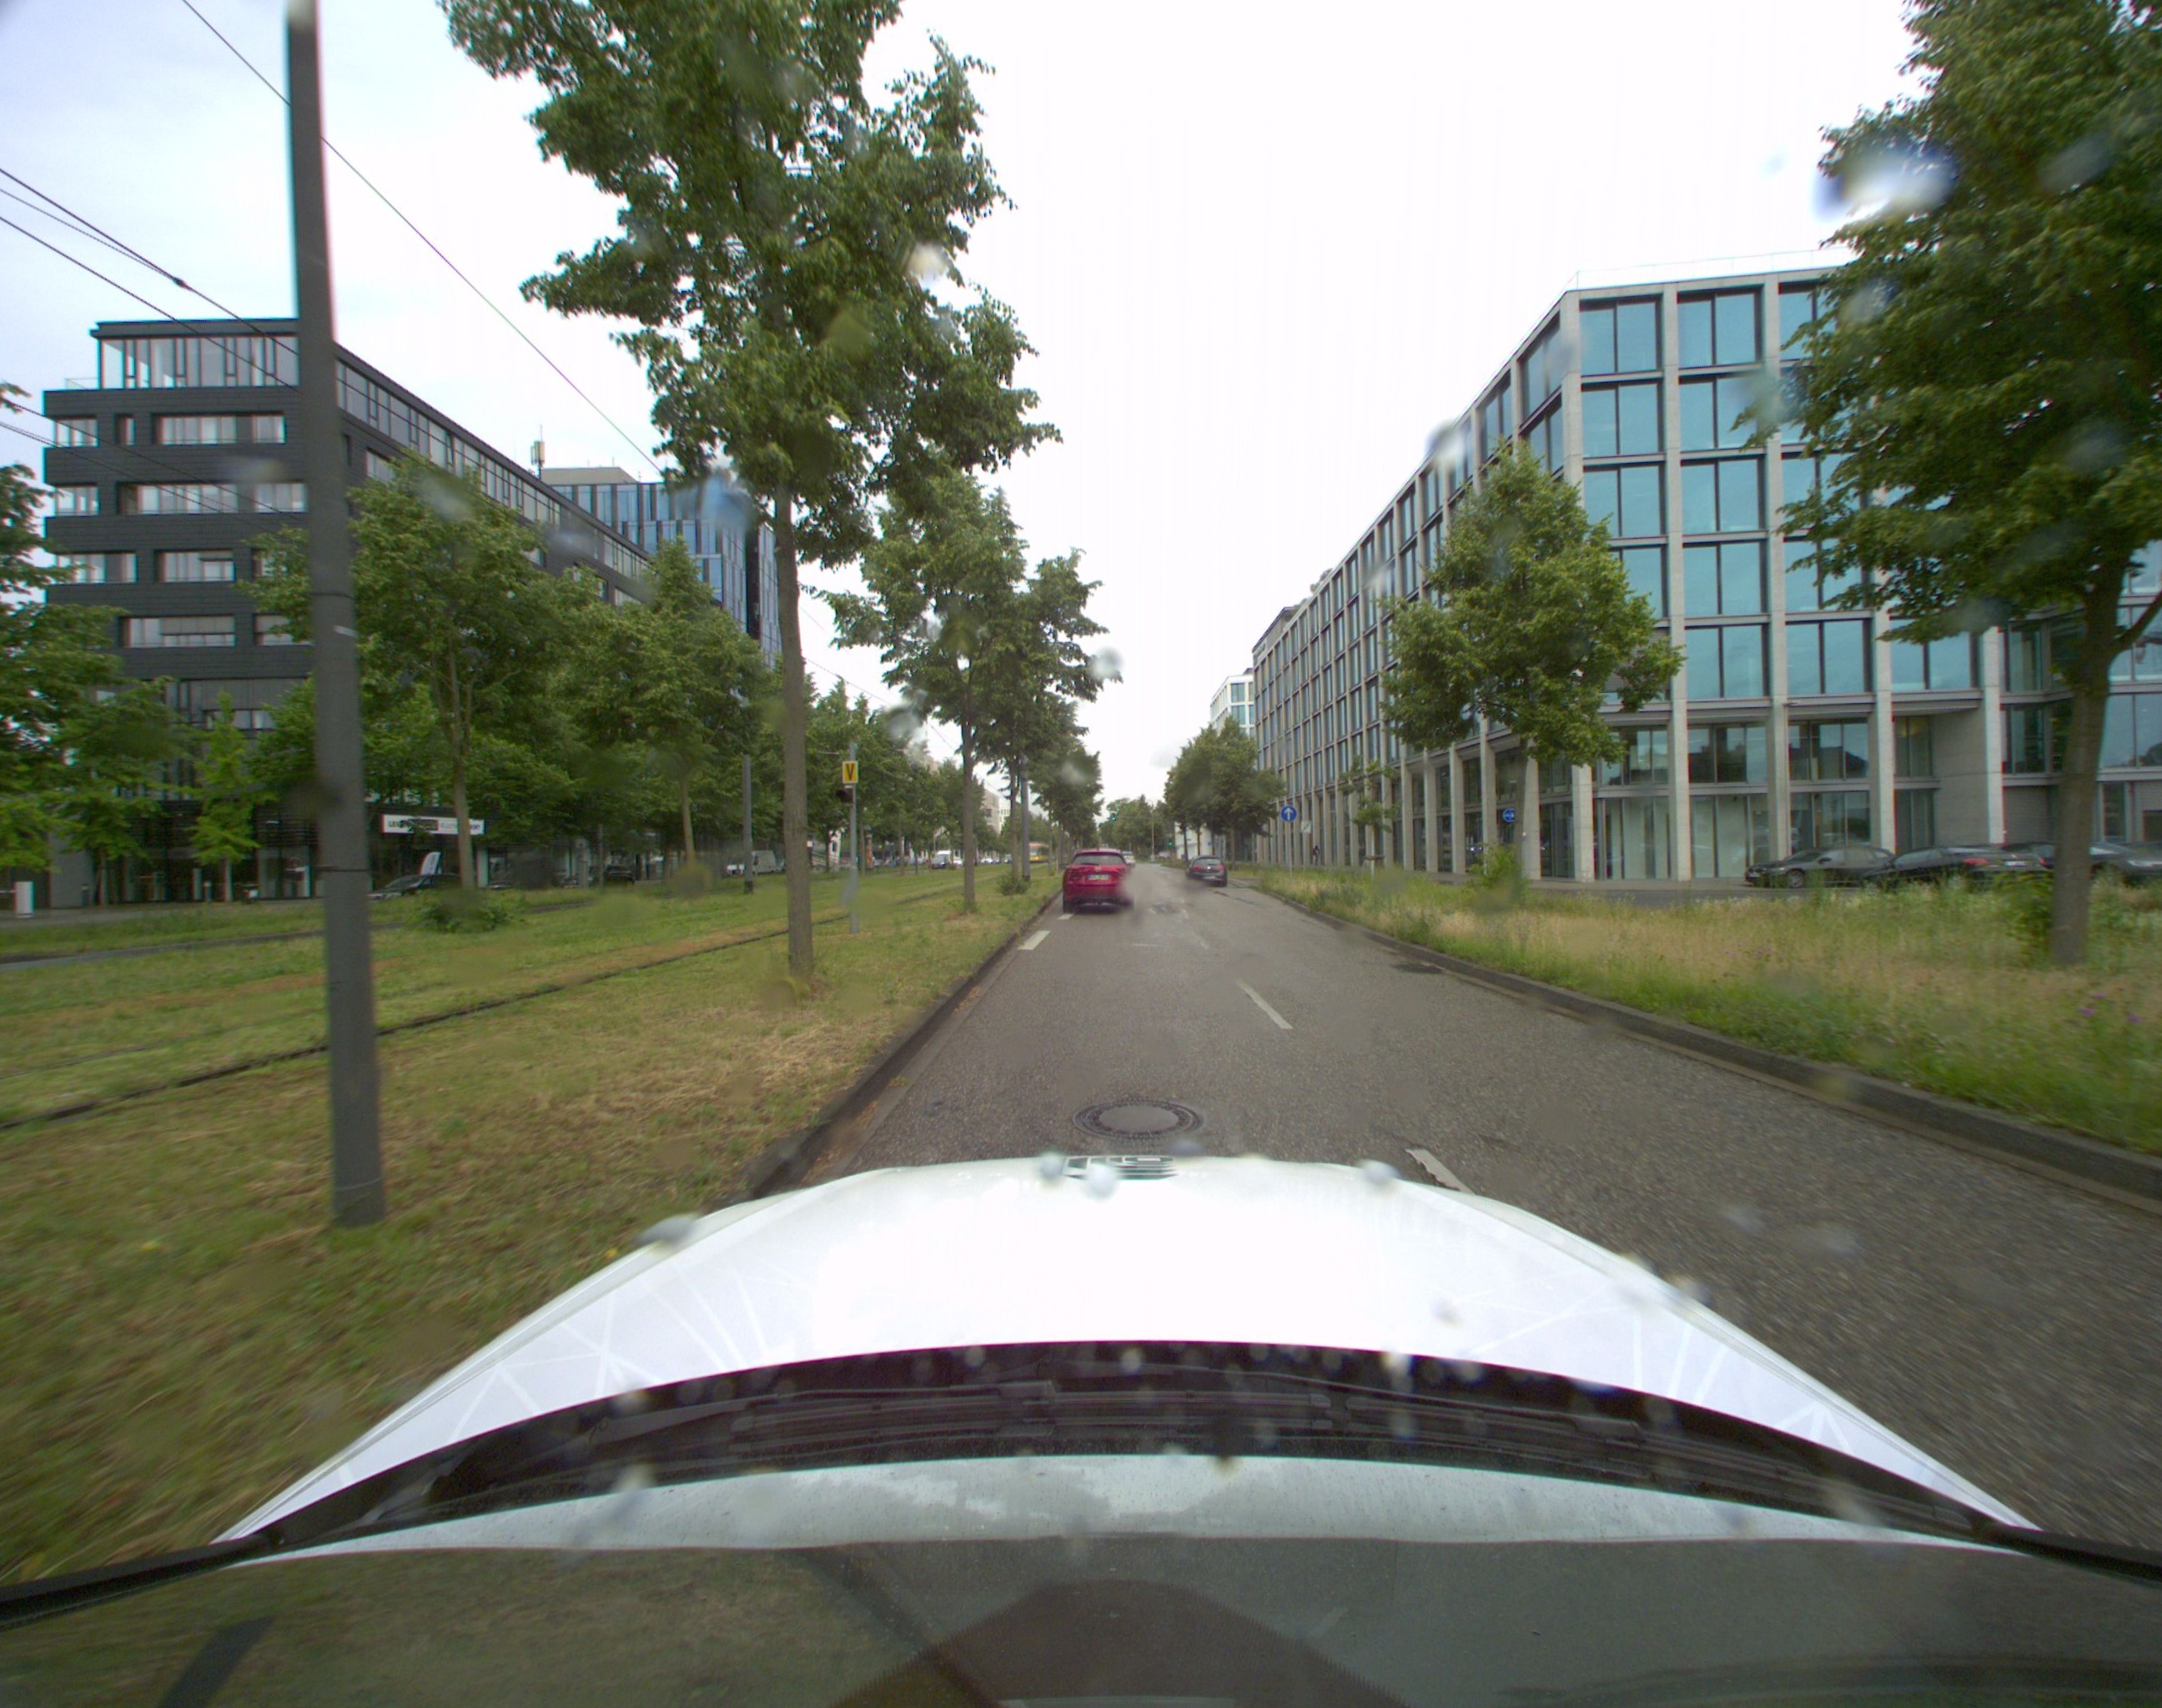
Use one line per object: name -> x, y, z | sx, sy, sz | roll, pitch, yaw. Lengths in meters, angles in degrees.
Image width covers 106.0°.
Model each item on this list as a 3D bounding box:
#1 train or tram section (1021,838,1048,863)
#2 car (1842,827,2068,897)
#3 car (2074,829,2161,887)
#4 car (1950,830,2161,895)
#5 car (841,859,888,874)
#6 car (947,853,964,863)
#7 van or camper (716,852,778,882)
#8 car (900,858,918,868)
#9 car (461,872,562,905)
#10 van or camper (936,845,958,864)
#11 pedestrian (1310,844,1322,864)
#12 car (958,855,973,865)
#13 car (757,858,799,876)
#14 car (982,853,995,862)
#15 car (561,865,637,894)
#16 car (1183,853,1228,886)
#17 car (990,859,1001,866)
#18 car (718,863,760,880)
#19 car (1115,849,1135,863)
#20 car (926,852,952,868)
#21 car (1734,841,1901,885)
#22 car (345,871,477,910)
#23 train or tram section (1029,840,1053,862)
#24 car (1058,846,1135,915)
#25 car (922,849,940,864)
train or tram section -> -7.363, -0.562, 131.085 | 3.118, 3.659, 13.408 | -1, 0, 1
car -> 22.185, 0.174, 20.937 | 1.844, 1.580, 4.009 | -1, 0, 8
car -> 27.908, 0.076, 20.215 | 1.845, 1.454, 4.007 | -1, 0, 6
car -> 24.928, 0.163, 20.365 | 1.845, 1.454, 4.565 | -1, 0, 6
car -> -24.327, 1.359, 91.587 | 4.701, 1.521, 1.978 | -1, 0, -36
car -> -18.657, 0.632, 121.283 | 1.878, 1.459, 4.001 | -1, 0, 1
van or camper -> -26.990, 1.016, 66.035 | 2.424, 2.315, 5.851 | -1, 0, 1
car -> -25.942, 1.358, 122.870 | 1.989, 1.484, 4.440 | -1, 0, -3
car -> -27.464, 1.624, 39.425 | 1.986, 1.378, 4.001 | -1, 0, 1
van or camper -> -17.569, 0.102, 107.005 | 1.902, 2.410, 5.404 | -1, 0, 1
pedestrian -> 20.827, -0.020, 72.288 | 0.714, 1.714, 0.861 | -3, 0, 0
car -> -19.363, 0.961, 136.606 | 1.878, 1.459, 4.001 | 6, 0, 1
car -> -26.813, 1.137, 72.247 | 1.987, 1.521, 4.606 | -1, 0, 0
car -> -15.419, 0.549, 135.812 | 1.704, 1.404, 4.001 | -1, 0, 1
car -> -26.917, 1.400, 45.646 | 1.696, 1.449, 4.242 | -1, 0, 1
car -> 5.781, 0.694, 38.200 | 1.736, 1.465, 3.785 | -1, 0, 4
car -> -19.074, 1.900, 182.215 | 1.987, 1.618, 3.999 | -1, 0, -1
car -> -30.037, 1.515, 71.627 | 1.810, 1.378, 4.183 | -1, 0, 1
car -> 4.607, 0.211, 85.838 | 1.960, 1.437, 4.553 | 0, 0, 1
car -> -15.116, 0.618, 86.672 | 1.856, 1.524, 4.480 | -1, 0, 1
car -> 26.779, 0.295, 29.751 | 4.197, 1.437, 1.985 | -1, 2, 6
car -> -27.165, 1.451, 33.198 | 1.986, 1.378, 4.001 | -1, 0, 1
train or tram section -> -7.075, -0.578, 145.275 | 3.118, 3.659, 15.066 | -1, 0, 1
car -> 0.403, 0.649, 22.123 | 1.892, 1.677, 4.000 | -1, 0, 0
car -> -25.650, 0.420, 139.417 | 2.250, 2.561, 4.650 | -1, 0, -3
